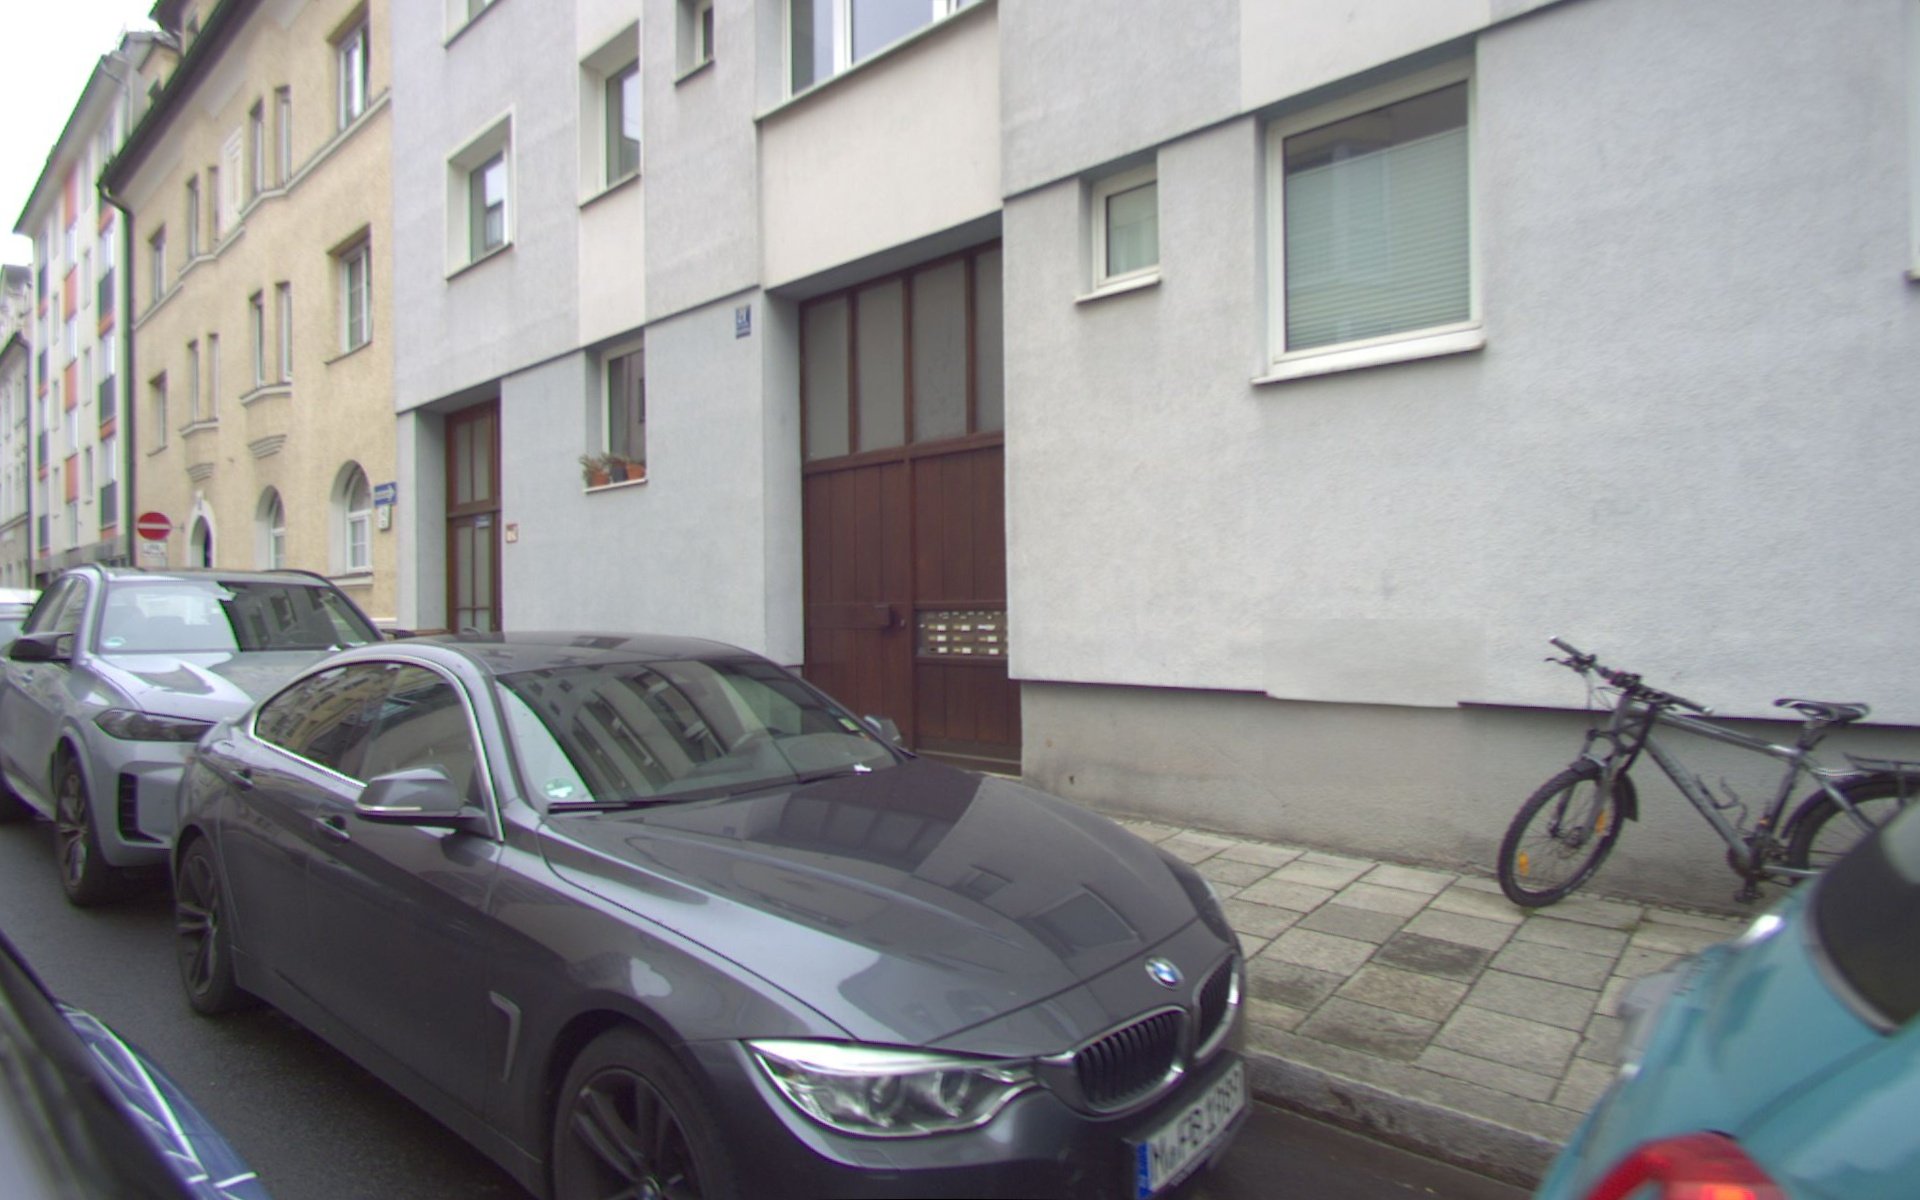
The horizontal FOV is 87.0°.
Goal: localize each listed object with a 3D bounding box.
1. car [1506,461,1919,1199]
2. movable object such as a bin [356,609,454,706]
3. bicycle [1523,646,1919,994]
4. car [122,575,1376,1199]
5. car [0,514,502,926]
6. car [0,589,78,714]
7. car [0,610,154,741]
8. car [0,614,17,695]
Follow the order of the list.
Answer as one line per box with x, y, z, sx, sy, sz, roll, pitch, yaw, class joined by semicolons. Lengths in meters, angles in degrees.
2.239;0.630;0.275;3.404;1.471;1.546;-1;-1;43;car
-6.642;0.665;12.116;0.622;1.059;0.799;-1;3;41;movable object such as a bin
2.940;0.715;3.588;1.569;1.038;0.539;-1;0;41;bicycle
-1.110;0.744;3.333;4.247;1.397;1.793;-2;-3;40;car
-5.046;0.597;6.627;4.731;1.783;1.844;-2;-3;40;car
-15.448;0.738;16.059;4.249;1.802;1.705;0;-2;43;car
-11.510;0.877;12.586;3.732;1.422;1.635;-2;-3;41;car
-19.400;1.000;19.312;4.110;1.486;1.654;-1;-2;42;car
